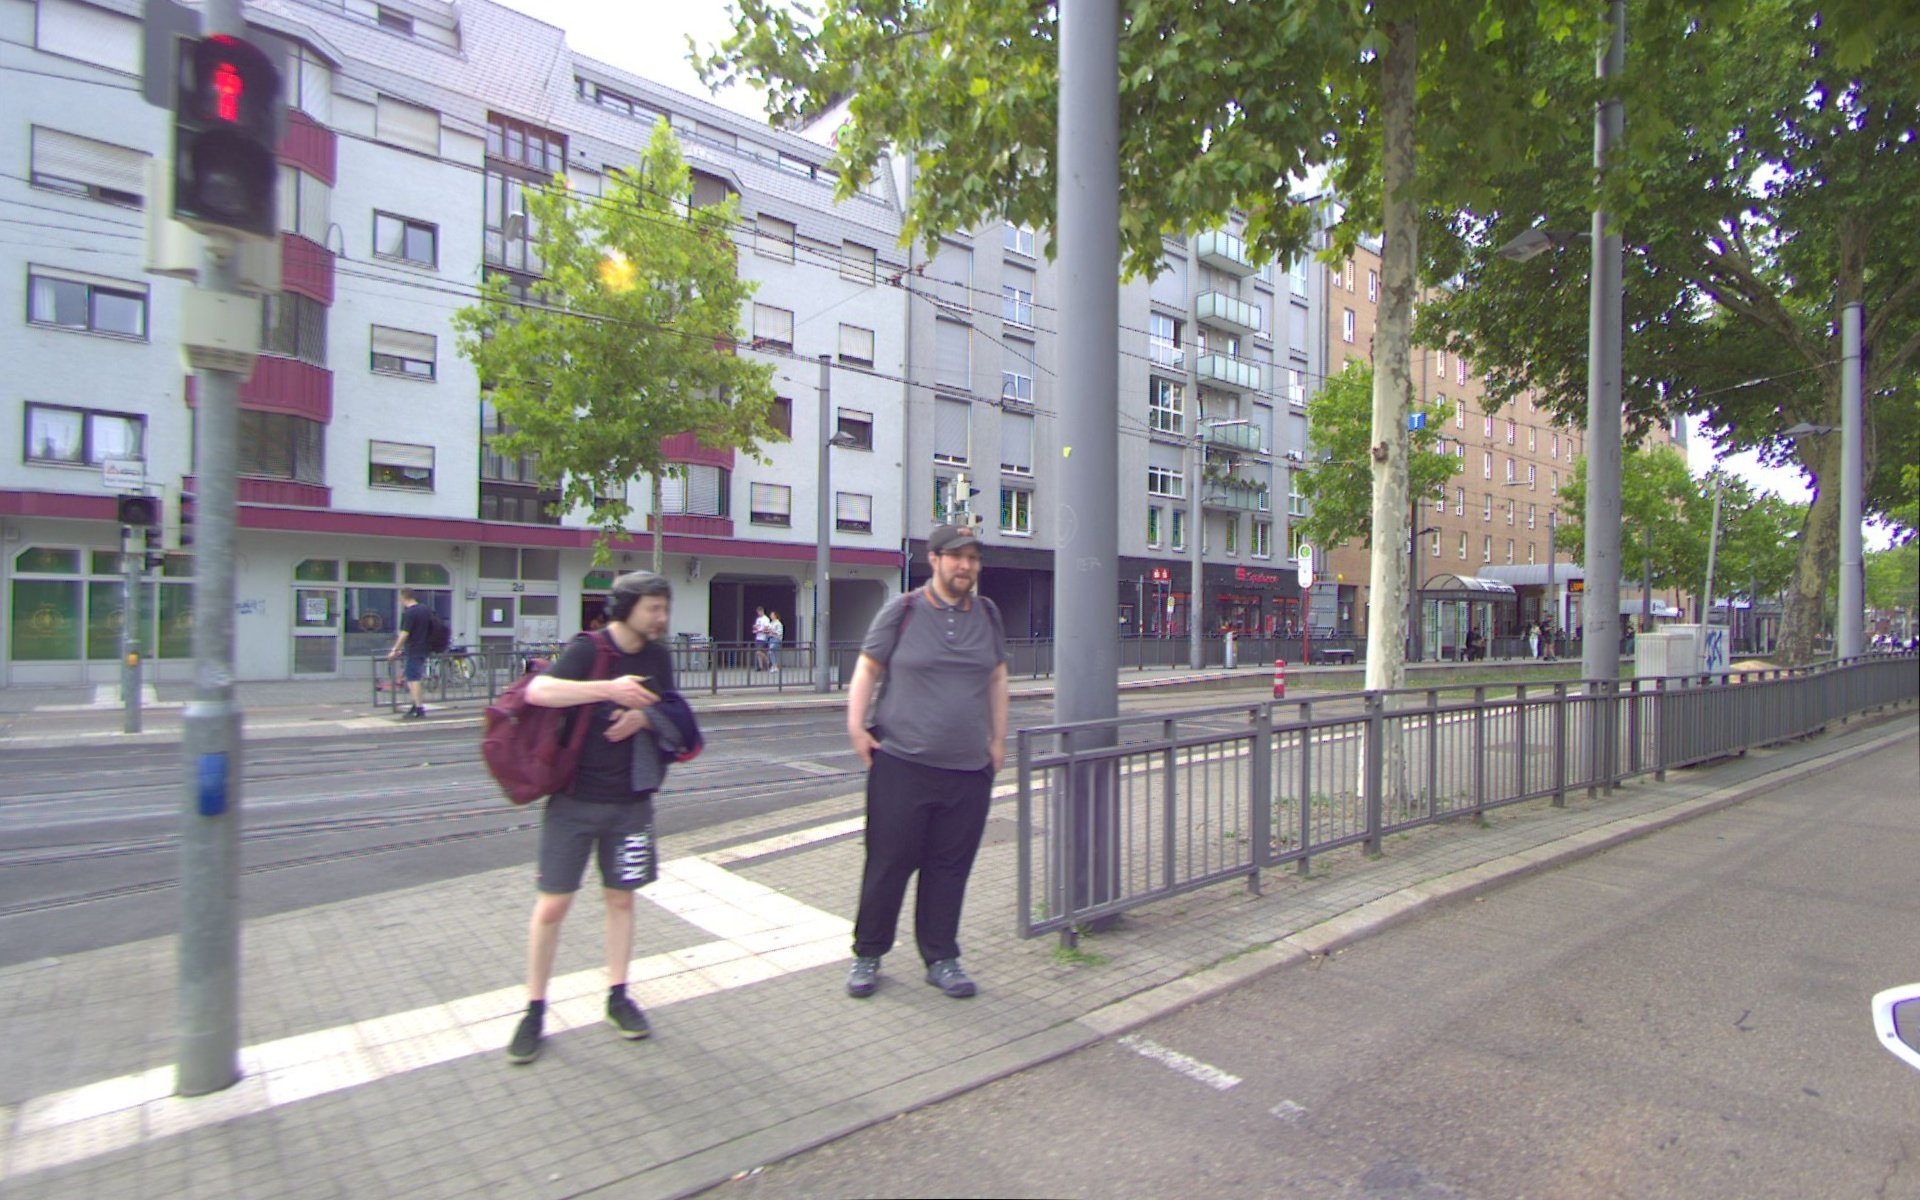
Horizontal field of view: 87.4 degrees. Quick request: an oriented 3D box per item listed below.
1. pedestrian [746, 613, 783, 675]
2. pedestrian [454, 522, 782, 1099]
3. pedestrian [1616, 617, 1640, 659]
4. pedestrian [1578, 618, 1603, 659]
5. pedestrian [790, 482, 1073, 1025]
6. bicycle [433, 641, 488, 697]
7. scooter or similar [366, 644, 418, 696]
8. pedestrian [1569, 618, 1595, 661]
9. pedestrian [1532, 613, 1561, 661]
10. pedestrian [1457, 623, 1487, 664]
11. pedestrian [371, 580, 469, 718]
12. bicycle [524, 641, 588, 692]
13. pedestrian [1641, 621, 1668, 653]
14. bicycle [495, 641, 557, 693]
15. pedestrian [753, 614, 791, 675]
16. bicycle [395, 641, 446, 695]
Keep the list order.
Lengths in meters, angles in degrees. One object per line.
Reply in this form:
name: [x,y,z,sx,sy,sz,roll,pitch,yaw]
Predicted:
pedestrian: [-5.874,1.306,30.143,0.888,1.798,0.753,0,-1,-34]
pedestrian: [-1.212,0.632,3.536,0.928,1.693,0.759,1,-1,-33]
pedestrian: [32.388,1.828,48.678,0.779,2.019,0.807,1,-2,-42]
pedestrian: [29.485,1.799,46.949,0.779,1.912,0.807,1,-2,-42]
pedestrian: [-0.131,0.544,4.070,0.831,1.880,0.838,1,-1,-33]
bicycle: [-11.083,1.497,22.252,0.622,1.032,2.157,2,1,-38]
scooter or similar: [-12.102,1.483,21.400,1.153,1.001,0.350,3,0,28]
pedestrian: [27.847,1.754,44.974,0.779,1.912,0.807,1,-2,-42]
pedestrian: [23.302,1.463,39.930,0.779,1.912,0.807,1,-2,-42]
pedestrian: [19.709,1.656,38.642,0.779,1.557,0.807,2,-2,-42]
pedestrian: [-7.782,0.696,14.513,0.984,1.924,0.805,0,-1,-4]
bicycle: [-9.559,1.542,23.731,1.859,1.032,0.706,3,1,44]
pedestrian: [36.177,1.921,52.319,0.845,1.622,0.985,1,-2,-42]
bicycle: [-10.038,1.526,23.195,1.859,1.032,0.624,3,1,44]
pedestrian: [-5.541,1.310,29.676,0.888,1.757,0.753,0,-1,-34]
bicycle: [-11.920,1.473,22.157,1.707,1.032,0.476,3,1,44]
